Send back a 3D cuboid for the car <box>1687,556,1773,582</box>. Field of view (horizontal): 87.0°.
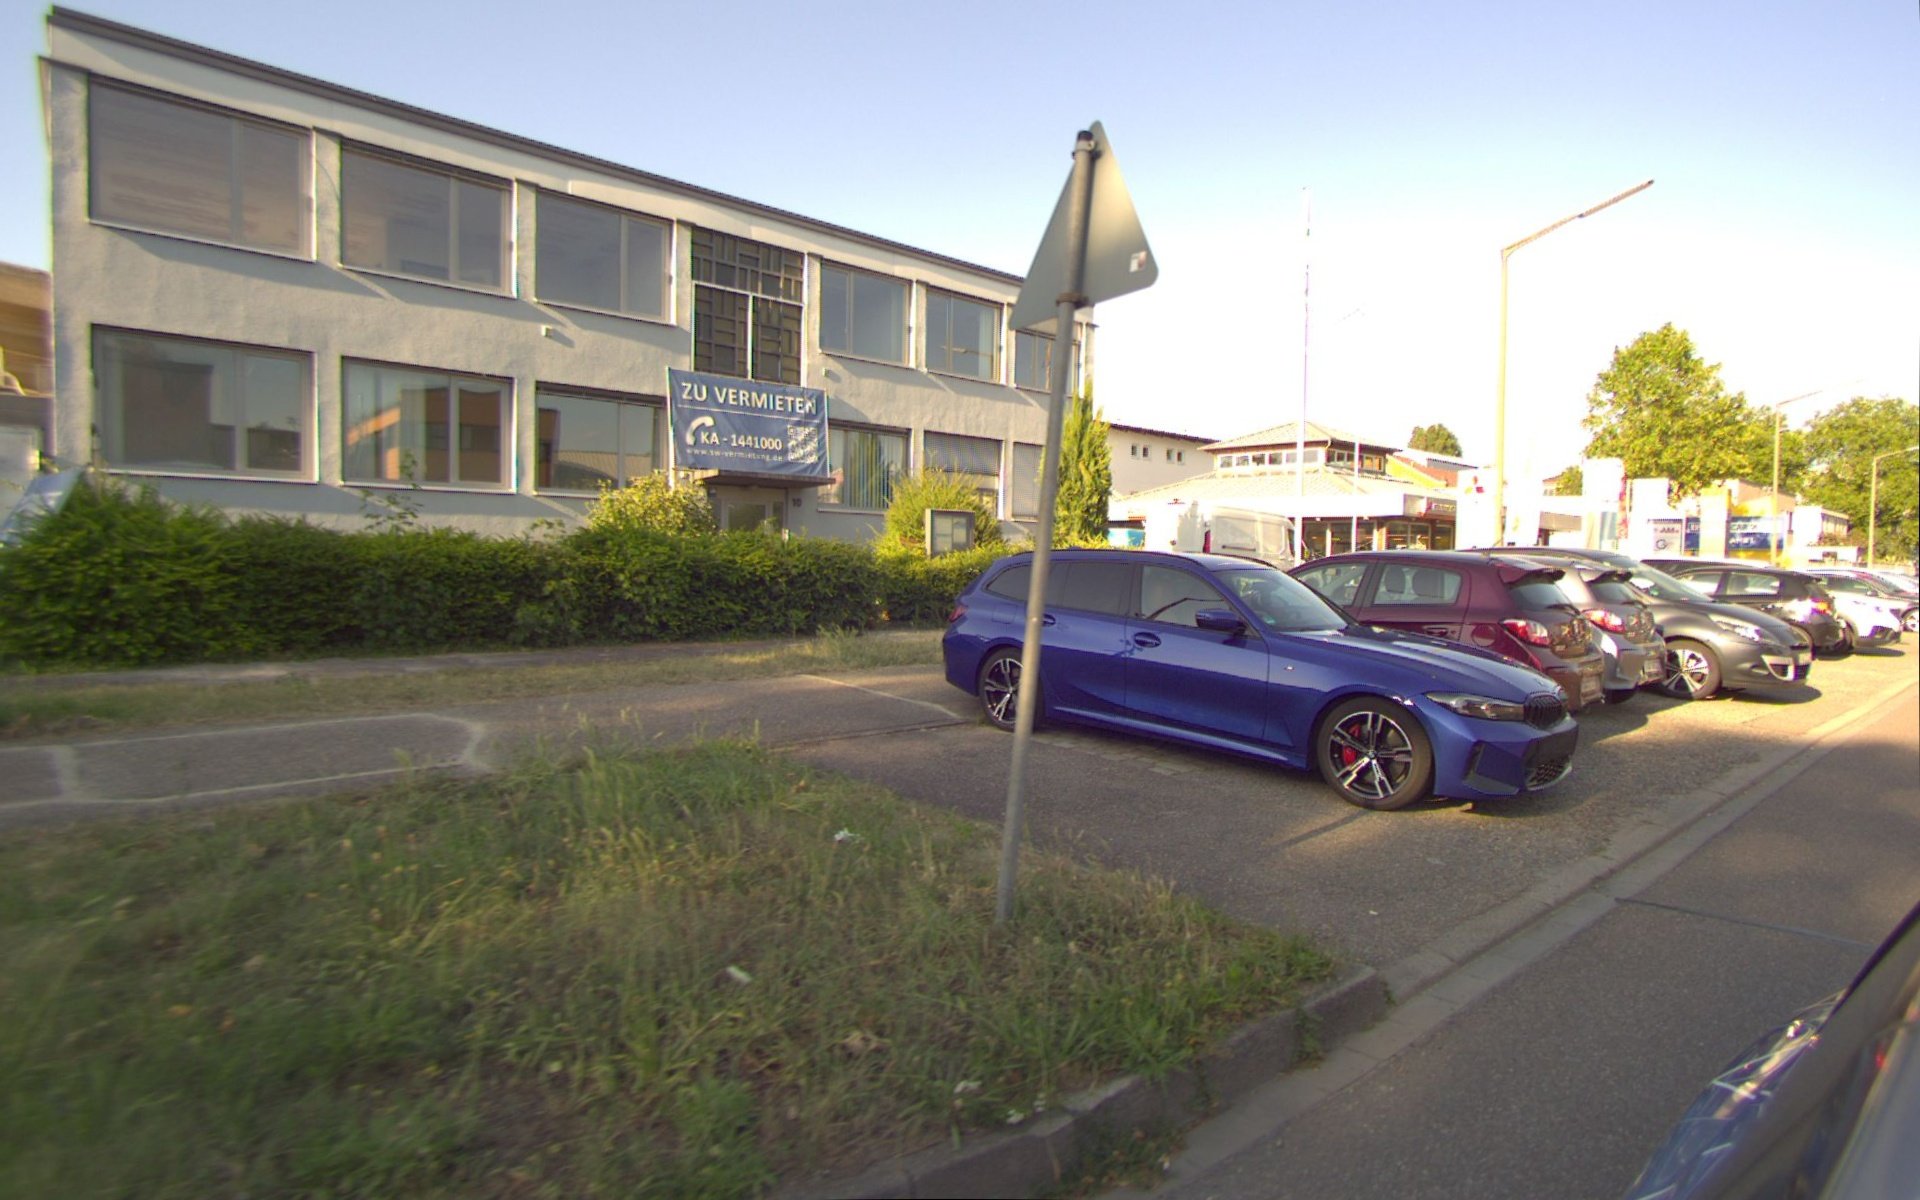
[{"bbox_3d":[47.157,-1.885,62.046,1.922,1.538,3.989,-1,2,-45],"label":"car"}]

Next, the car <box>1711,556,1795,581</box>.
[{"bbox_3d":[50.212,-1.999,64.102,1.968,1.515,3.989,-1,2,-45],"label":"car"}]

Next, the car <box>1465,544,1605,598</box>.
[{"bbox_3d":[21.147,-1.109,37.332,1.965,1.717,3.997,-1,5,-40],"label":"car"}]

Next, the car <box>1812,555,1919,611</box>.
[{"bbox_3d":[29.321,-0.522,31.473,2.025,1.637,4.113,-1,4,-44],"label":"car"}]

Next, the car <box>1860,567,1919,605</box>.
[{"bbox_3d":[36.399,-0.469,37.702,1.751,1.311,4.000,-1,4,-38],"label":"car"}]

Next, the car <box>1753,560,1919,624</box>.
[{"bbox_3d":[24.136,-0.230,26.905,2.098,1.453,4.447,-1,5,-41],"label":"car"}]

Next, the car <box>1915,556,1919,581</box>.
[{"bbox_3d":[104.722,-3.186,105.683,2.097,2.692,6.995,0,3,-40],"label":"car"}]

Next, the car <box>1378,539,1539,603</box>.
[{"bbox_3d":[16.029,-0.988,32.696,1.965,1.792,4.154,-1,5,-40],"label":"car"}]

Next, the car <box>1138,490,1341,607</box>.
[{"bbox_3d":[7.221,-1.240,25.693,6.031,2.658,1.997,-1,2,-41],"label":"car"}]

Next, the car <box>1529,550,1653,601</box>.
[{"bbox_3d":[25.338,-1.040,40.727,1.756,1.921,3.910,-3,4,-41],"label":"car"}]

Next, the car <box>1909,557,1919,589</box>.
[{"bbox_3d":[52.081,-1.211,51.955,1.965,1.632,4.613,-1,6,-41],"label":"car"}]

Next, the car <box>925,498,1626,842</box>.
[{"bbox_3d":[1.916,0.181,7.340,1.724,1.692,4.530,-1,5,-44],"label":"car"}]

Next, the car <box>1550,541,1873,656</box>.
[{"bbox_3d":[13.227,-0.130,18.033,1.888,1.642,4.258,-1,5,-41],"label":"car"}]

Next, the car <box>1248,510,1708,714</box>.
[{"bbox_3d":[5.422,-0.041,11.042,1.769,1.671,3.999,-1,6,-40],"label":"car"}]

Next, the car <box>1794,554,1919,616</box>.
[{"bbox_3d":[27.452,-0.457,29.958,1.853,1.761,4.112,-1,2,-44],"label":"car"}]

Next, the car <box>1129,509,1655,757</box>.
[{"bbox_3d":[3.712,0.092,9.258,1.713,1.671,3.995,-1,6,-43],"label":"car"}]

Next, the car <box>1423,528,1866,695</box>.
[{"bbox_3d":[8.142,-0.011,12.420,1.961,1.632,4.004,-1,5,-33],"label":"car"}]

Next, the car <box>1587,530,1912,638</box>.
[{"bbox_3d":[15.022,-0.403,19.449,2.165,1.616,4.563,-1,6,-43],"label":"car"}]

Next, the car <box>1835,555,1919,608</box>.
[{"bbox_3d":[31.212,-0.570,32.912,1.837,1.607,3.992,-1,5,-44],"label":"car"}]

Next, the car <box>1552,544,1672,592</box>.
[{"bbox_3d":[28.397,-1.416,44.153,2.163,1.922,3.941,3,0,-41],"label":"car"}]

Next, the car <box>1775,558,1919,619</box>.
[{"bbox_3d":[25.610,-0.350,28.312,4.243,1.625,1.718,2,2,45],"label":"car"}]
